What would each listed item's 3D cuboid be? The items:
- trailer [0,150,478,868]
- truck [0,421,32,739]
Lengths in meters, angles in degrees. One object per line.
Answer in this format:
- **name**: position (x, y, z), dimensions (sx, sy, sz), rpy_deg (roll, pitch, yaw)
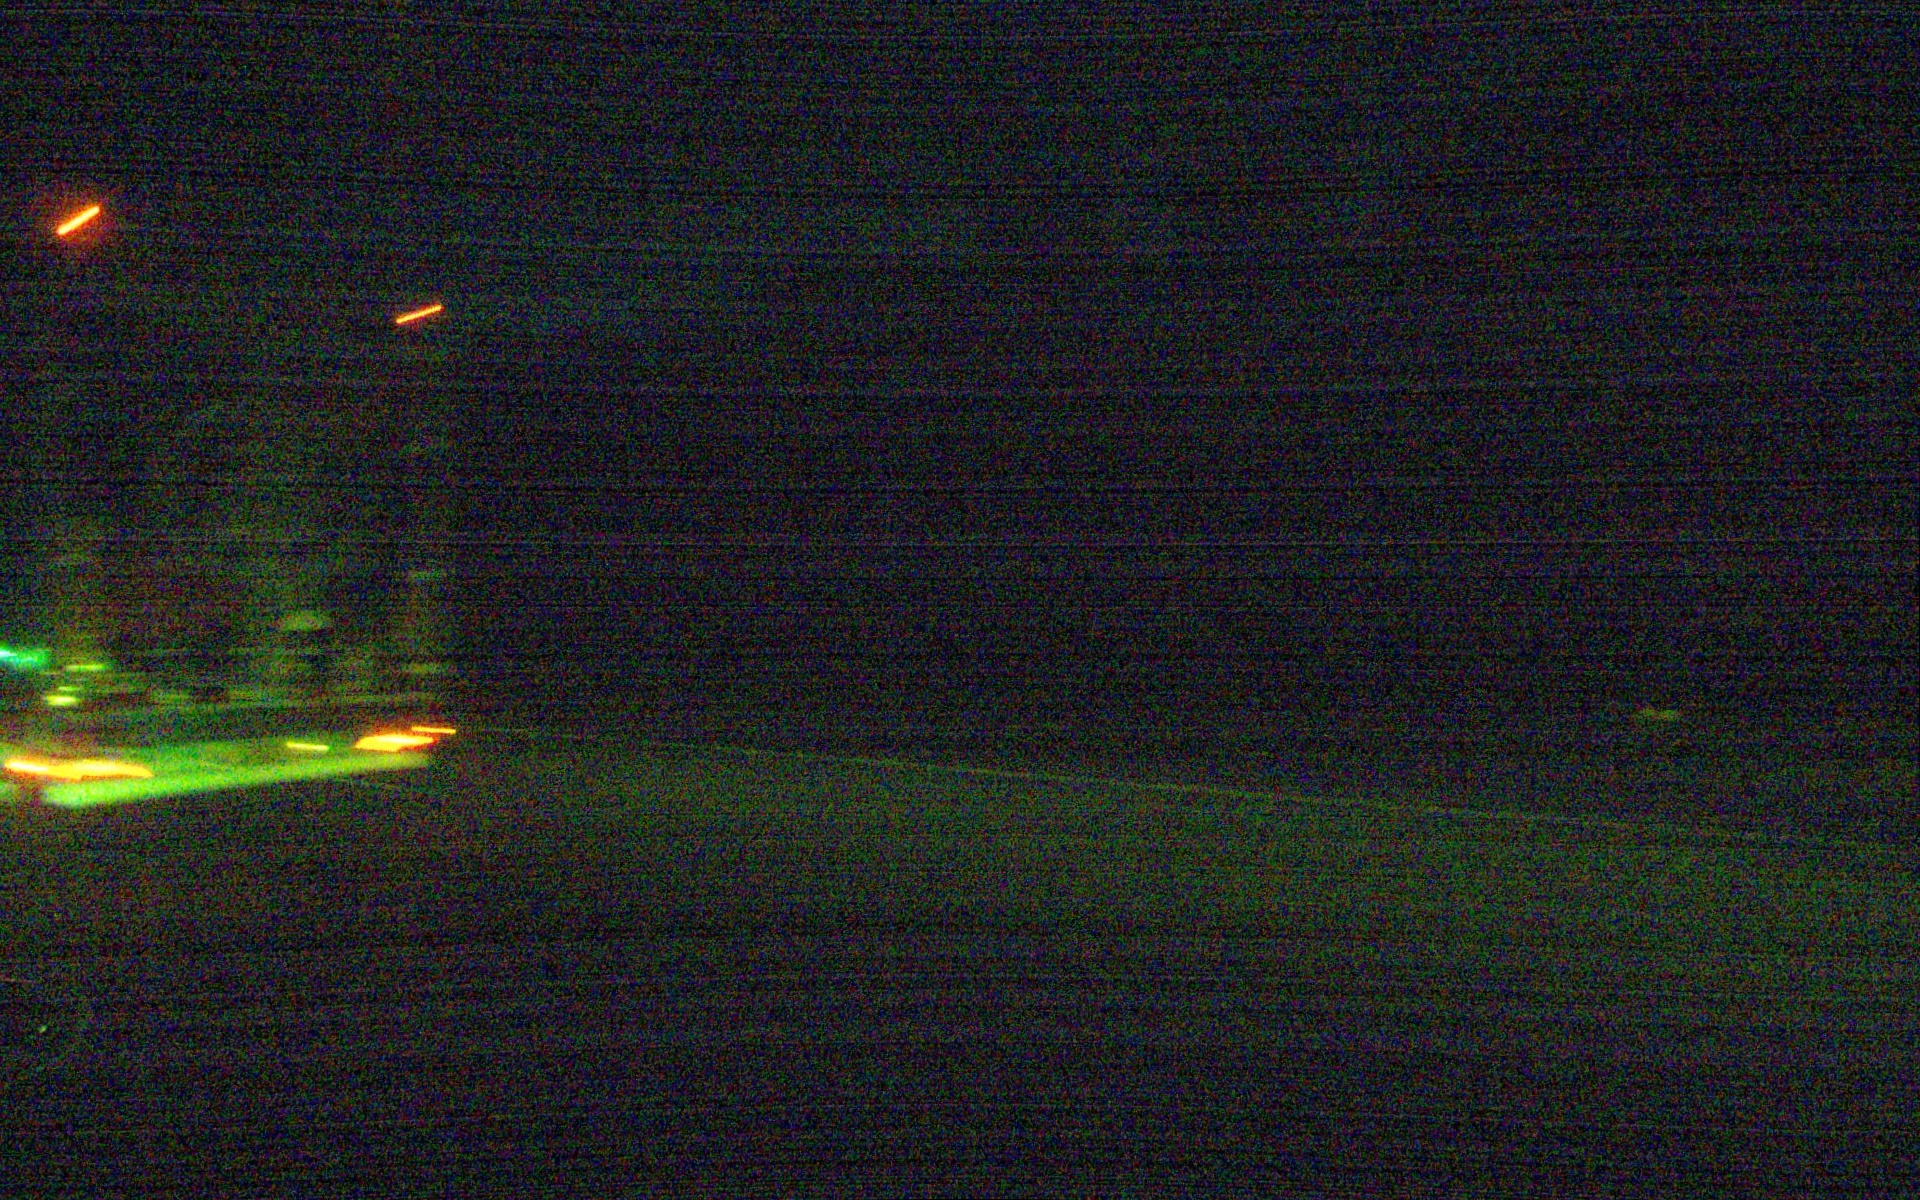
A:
- **trailer**: position (-10.363, -0.382, 10.639), dimensions (13.316, 4.259, 2.738), rpy_deg (-1, -2, 32)
- **truck**: position (-16.230, -0.254, 14.306), dimensions (6.626, 4.259, 2.658), rpy_deg (-1, -2, 32)
